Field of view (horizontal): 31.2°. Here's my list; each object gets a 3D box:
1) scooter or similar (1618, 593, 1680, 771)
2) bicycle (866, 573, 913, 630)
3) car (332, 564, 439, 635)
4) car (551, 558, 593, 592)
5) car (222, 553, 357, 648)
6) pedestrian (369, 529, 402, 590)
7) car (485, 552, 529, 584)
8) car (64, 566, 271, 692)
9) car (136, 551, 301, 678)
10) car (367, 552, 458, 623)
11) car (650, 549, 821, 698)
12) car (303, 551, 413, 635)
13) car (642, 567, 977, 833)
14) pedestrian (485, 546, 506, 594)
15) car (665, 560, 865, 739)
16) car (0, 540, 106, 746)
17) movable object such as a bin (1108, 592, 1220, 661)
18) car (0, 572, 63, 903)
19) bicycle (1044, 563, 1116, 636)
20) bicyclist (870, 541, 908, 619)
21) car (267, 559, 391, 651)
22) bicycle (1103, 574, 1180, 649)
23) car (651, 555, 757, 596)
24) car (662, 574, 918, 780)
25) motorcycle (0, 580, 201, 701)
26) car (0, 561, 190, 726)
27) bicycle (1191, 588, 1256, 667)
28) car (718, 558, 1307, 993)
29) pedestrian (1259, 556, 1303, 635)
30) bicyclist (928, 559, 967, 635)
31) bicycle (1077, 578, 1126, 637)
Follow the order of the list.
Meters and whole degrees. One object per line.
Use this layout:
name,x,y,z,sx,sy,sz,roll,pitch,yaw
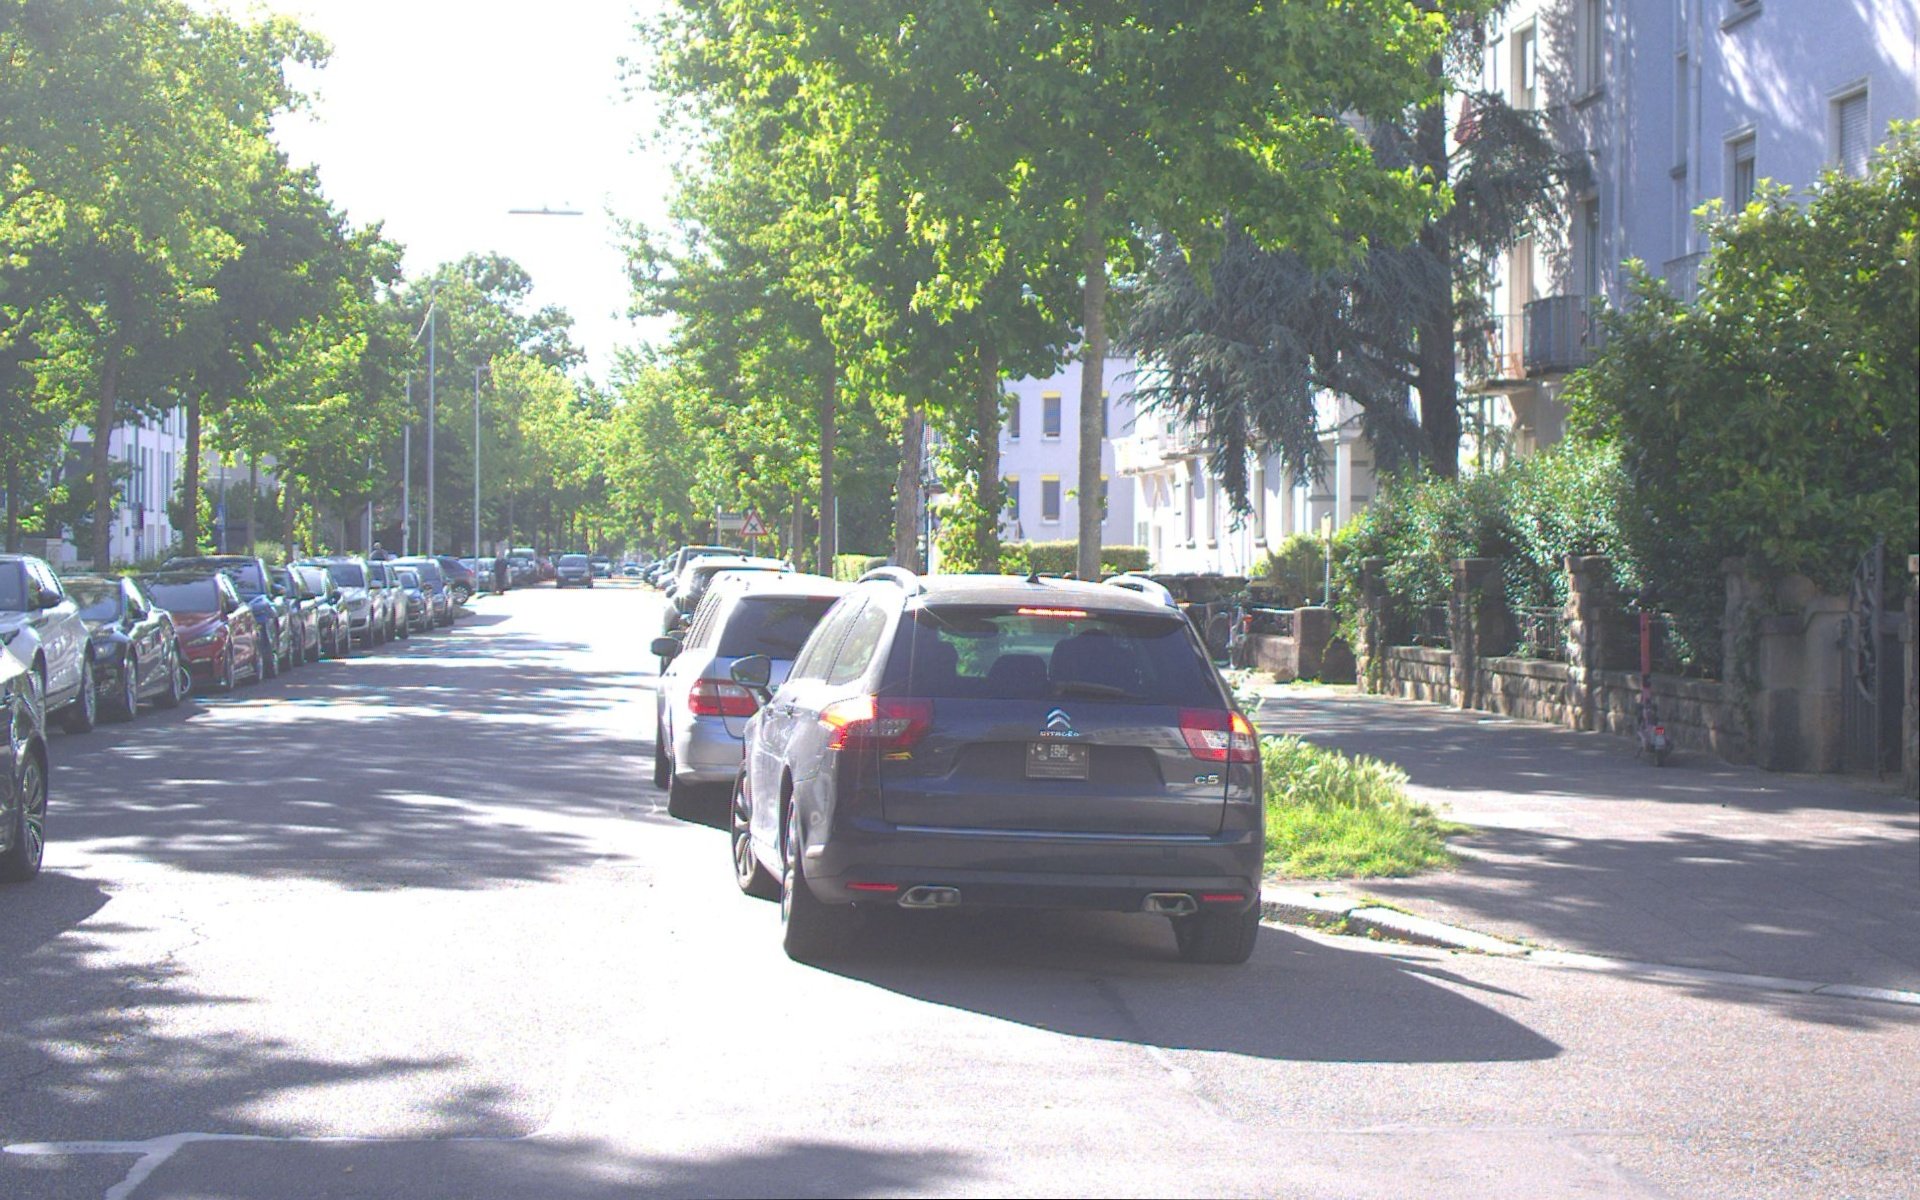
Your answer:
scooter or similar,4.802,0.554,23.992,0.401,1.181,1.205,0,1,10
bicycle,-1.450,0.024,70.593,0.683,1.149,2.404,0,1,-8
car,-12.644,-0.026,75.878,1.993,1.448,4.263,-2,1,-6
car,-18.267,-1.193,161.834,1.782,1.603,4.001,0,1,-9
car,-10.904,-0.016,56.099,1.761,1.439,3.909,-1,1,-6
pedestrian,-18.957,-1.334,113.515,0.859,2.007,0.981,0,1,4
car,-22.718,-1.625,172.673,1.993,1.579,4.001,0,1,-5
car,-9.458,0.311,41.319,1.779,1.374,4.263,-1,1,-4
car,-9.963,0.154,46.446,1.789,1.561,4.467,-2,1,-8
car,-13.020,-0.316,81.936,1.839,1.589,4.263,-1,1,-6
car,-2.764,0.243,42.648,1.925,1.646,5.096,2,1,-3
car,-11.732,-0.154,67.207,1.710,1.539,3.931,-2,1,-4
car,-1.095,0.560,22.417,1.821,1.464,4.910,2,1,-6
pedestrian,-18.235,-1.178,134.884,0.715,1.894,0.837,0,1,-14
car,-1.937,0.430,33.102,1.654,1.527,3.970,3,1,-6
car,-8.460,0.351,29.060,1.728,1.612,4.367,-3,1,-6
movable object such as a bin,2.858,0.359,47.939,1.222,0.901,1.663,1,1,16
car,-5.067,0.630,14.504,1.808,1.441,4.367,-1,1,-6
bicycle,2.092,-0.017,60.284,0.838,1.253,2.232,1,0,-8
bicyclist,-1.458,-0.411,70.678,0.677,1.604,0.922,0,1,-8
car,-11.274,0.066,61.631,1.811,1.590,4.234,0,1,-5
bicycle,2.807,0.169,53.371,0.803,1.111,2.000,1,0,-8
car,-9.997,-0.948,133.984,3.986,1.581,1.727,0,1,-8
car,-1.440,0.543,27.396,1.710,1.406,4.863,2,1,-6
motorcycle,-9.584,0.440,37.972,2.285,1.266,0.808,-1,1,-15
car,-8.945,0.399,34.382,1.728,1.472,4.620,-3,1,-4
bicycle,3.399,0.348,44.462,0.581,0.971,1.904,0,1,-3
car,0.023,0.628,14.697,1.895,1.519,4.968,1,0,-6
pedestrian,4.676,-0.065,50.075,0.509,1.138,0.756,1,0,-3
bicyclist,-0.261,-0.061,70.663,0.676,1.548,1.022,0,1,-8
bicycle,2.381,0.113,57.900,0.595,0.954,1.904,0,1,-5
